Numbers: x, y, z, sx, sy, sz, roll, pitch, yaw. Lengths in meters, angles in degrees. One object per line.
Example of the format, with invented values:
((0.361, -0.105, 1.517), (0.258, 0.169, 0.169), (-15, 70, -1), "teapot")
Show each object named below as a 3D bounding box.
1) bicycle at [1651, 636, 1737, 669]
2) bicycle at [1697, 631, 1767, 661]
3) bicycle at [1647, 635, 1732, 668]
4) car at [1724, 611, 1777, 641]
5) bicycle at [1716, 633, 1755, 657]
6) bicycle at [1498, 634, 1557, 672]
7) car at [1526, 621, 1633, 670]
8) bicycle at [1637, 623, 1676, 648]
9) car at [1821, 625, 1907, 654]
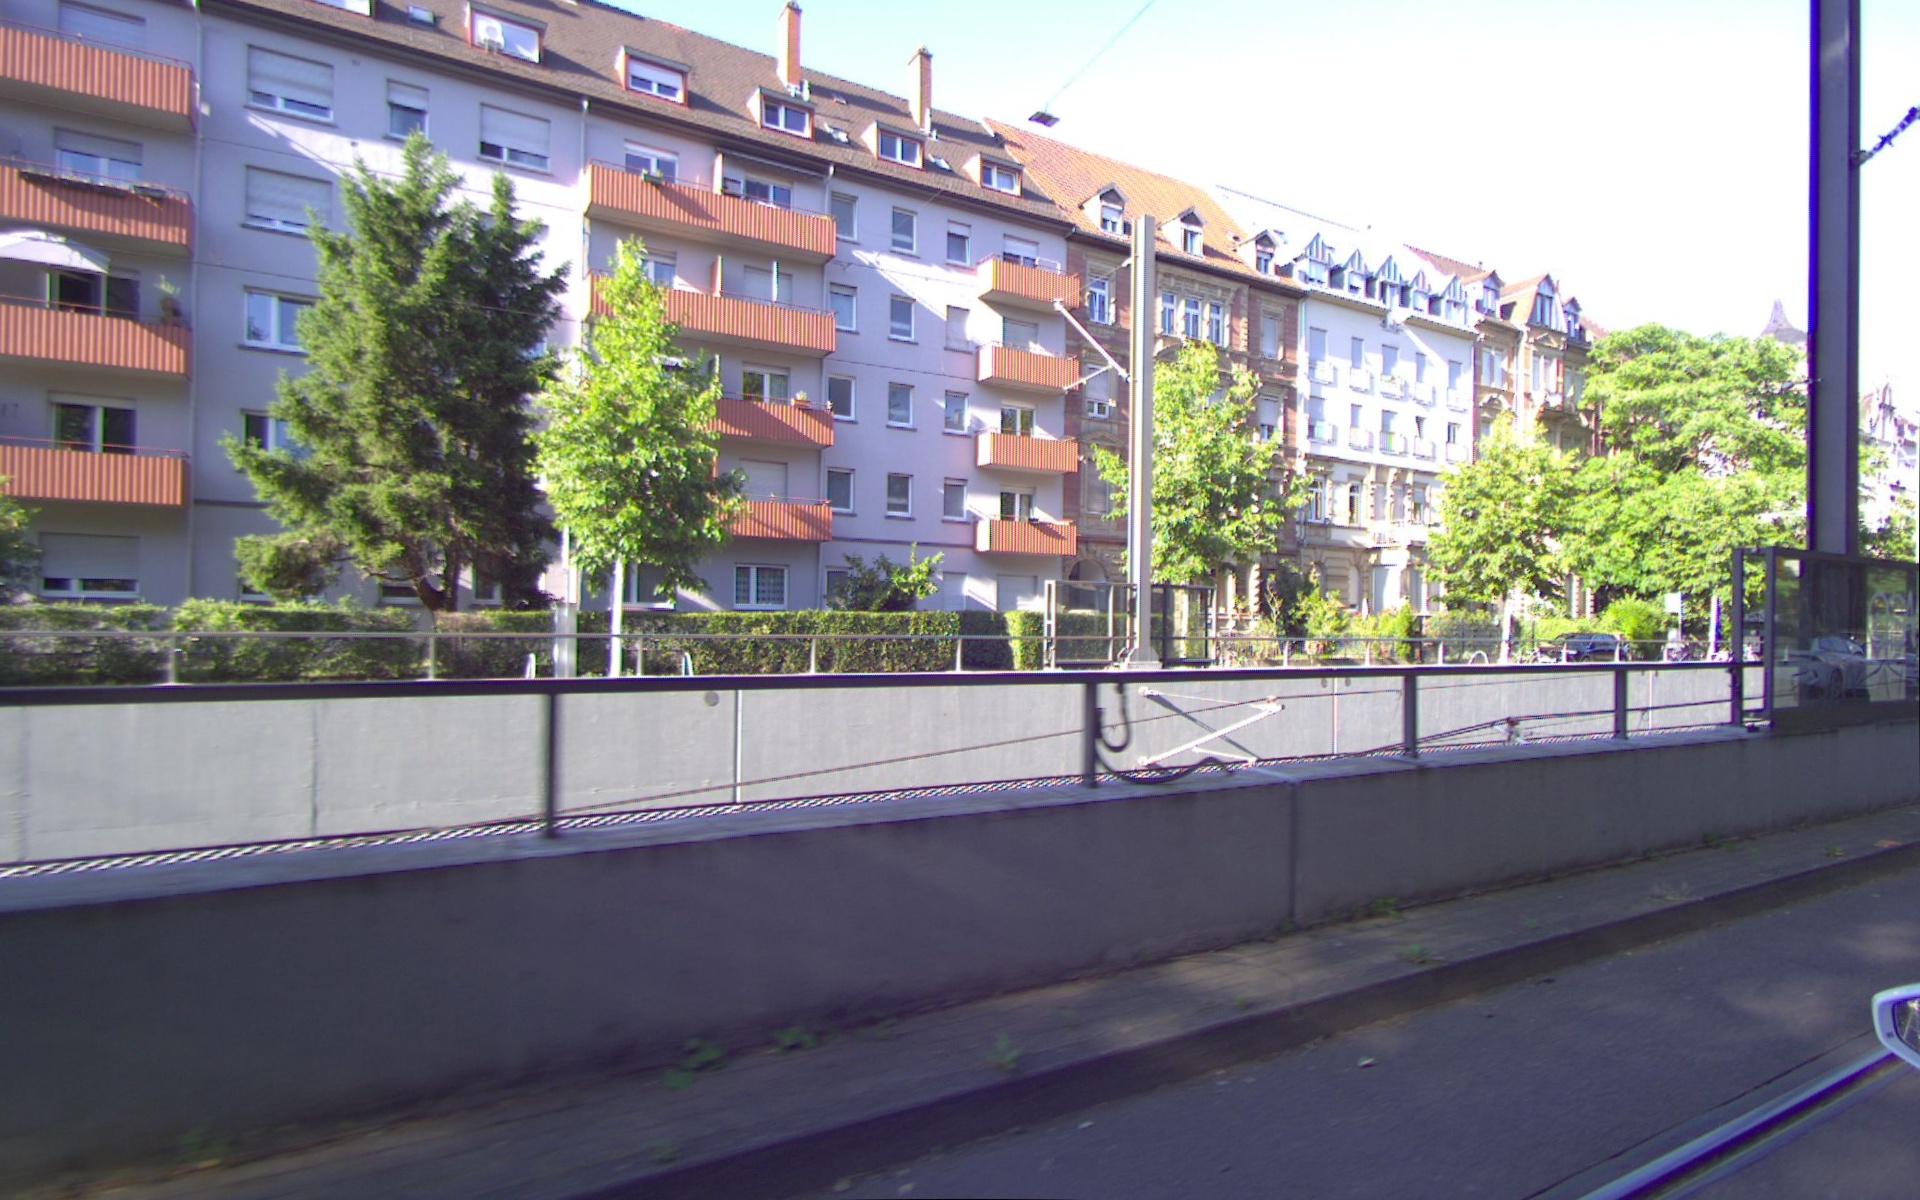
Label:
((30.107, 2.139, 41.252), (2.736, 1.113, 0.642), (3, 2, 28), "bicycle")
((33.702, 2.011, 43.877), (2.333, 1.113, 0.556), (3, 2, 30), "bicycle")
((30.390, 2.133, 41.887), (2.736, 1.113, 0.642), (3, 2, 28), "bicycle")
((53.088, 1.703, 67.431), (4.447, 1.874, 1.975), (1, 2, -42), "car")
((34.179, 1.972, 44.271), (1.246, 0.917, 0.538), (3, 2, 30), "bicycle")
((20.247, 1.885, 35.874), (0.555, 1.194, 1.801), (1, 2, -27), "bicycle")
((23.036, 1.664, 37.330), (3.956, 1.606, 1.822), (1, 2, -33), "car")
((32.656, 1.677, 47.073), (2.348, 1.113, 0.552), (1, 2, -31), "bicycle")
((59.904, 2.592, 66.607), (1.809, 1.646, 3.955), (1, 1, -38), "car")
